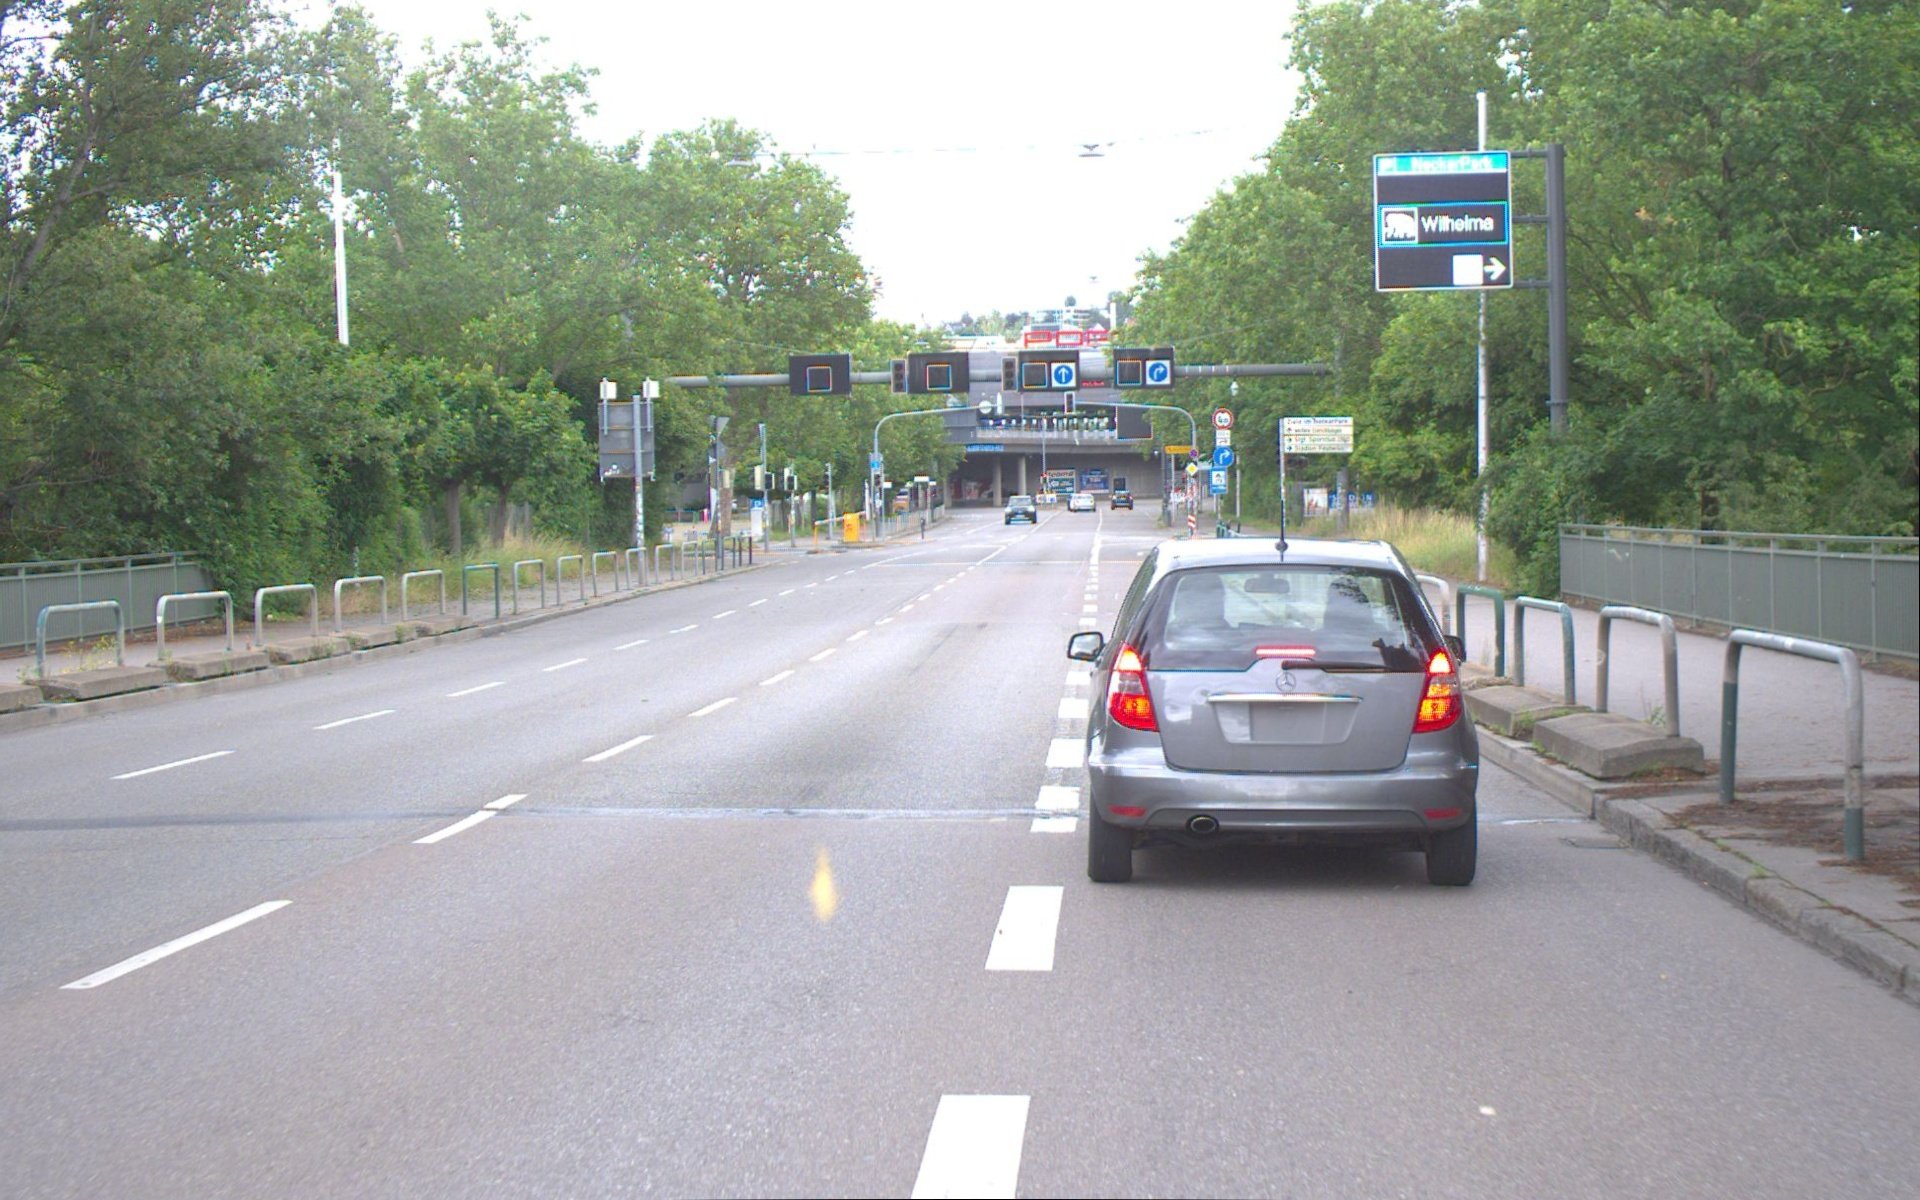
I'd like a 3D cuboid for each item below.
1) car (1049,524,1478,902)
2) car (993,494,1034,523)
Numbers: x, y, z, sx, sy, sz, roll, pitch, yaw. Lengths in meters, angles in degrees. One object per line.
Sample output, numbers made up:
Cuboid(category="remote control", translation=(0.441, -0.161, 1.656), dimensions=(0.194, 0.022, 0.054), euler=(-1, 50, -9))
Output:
Cuboid(category="car", translation=(1.474, 0.445, 16.792), dimensions=(1.826, 1.611, 4.033), euler=(0, 1, 5))
Cuboid(category="car", translation=(3.208, -5.439, 204.517), dimensions=(1.994, 1.654, 4.516), euler=(-2, 1, 6))
